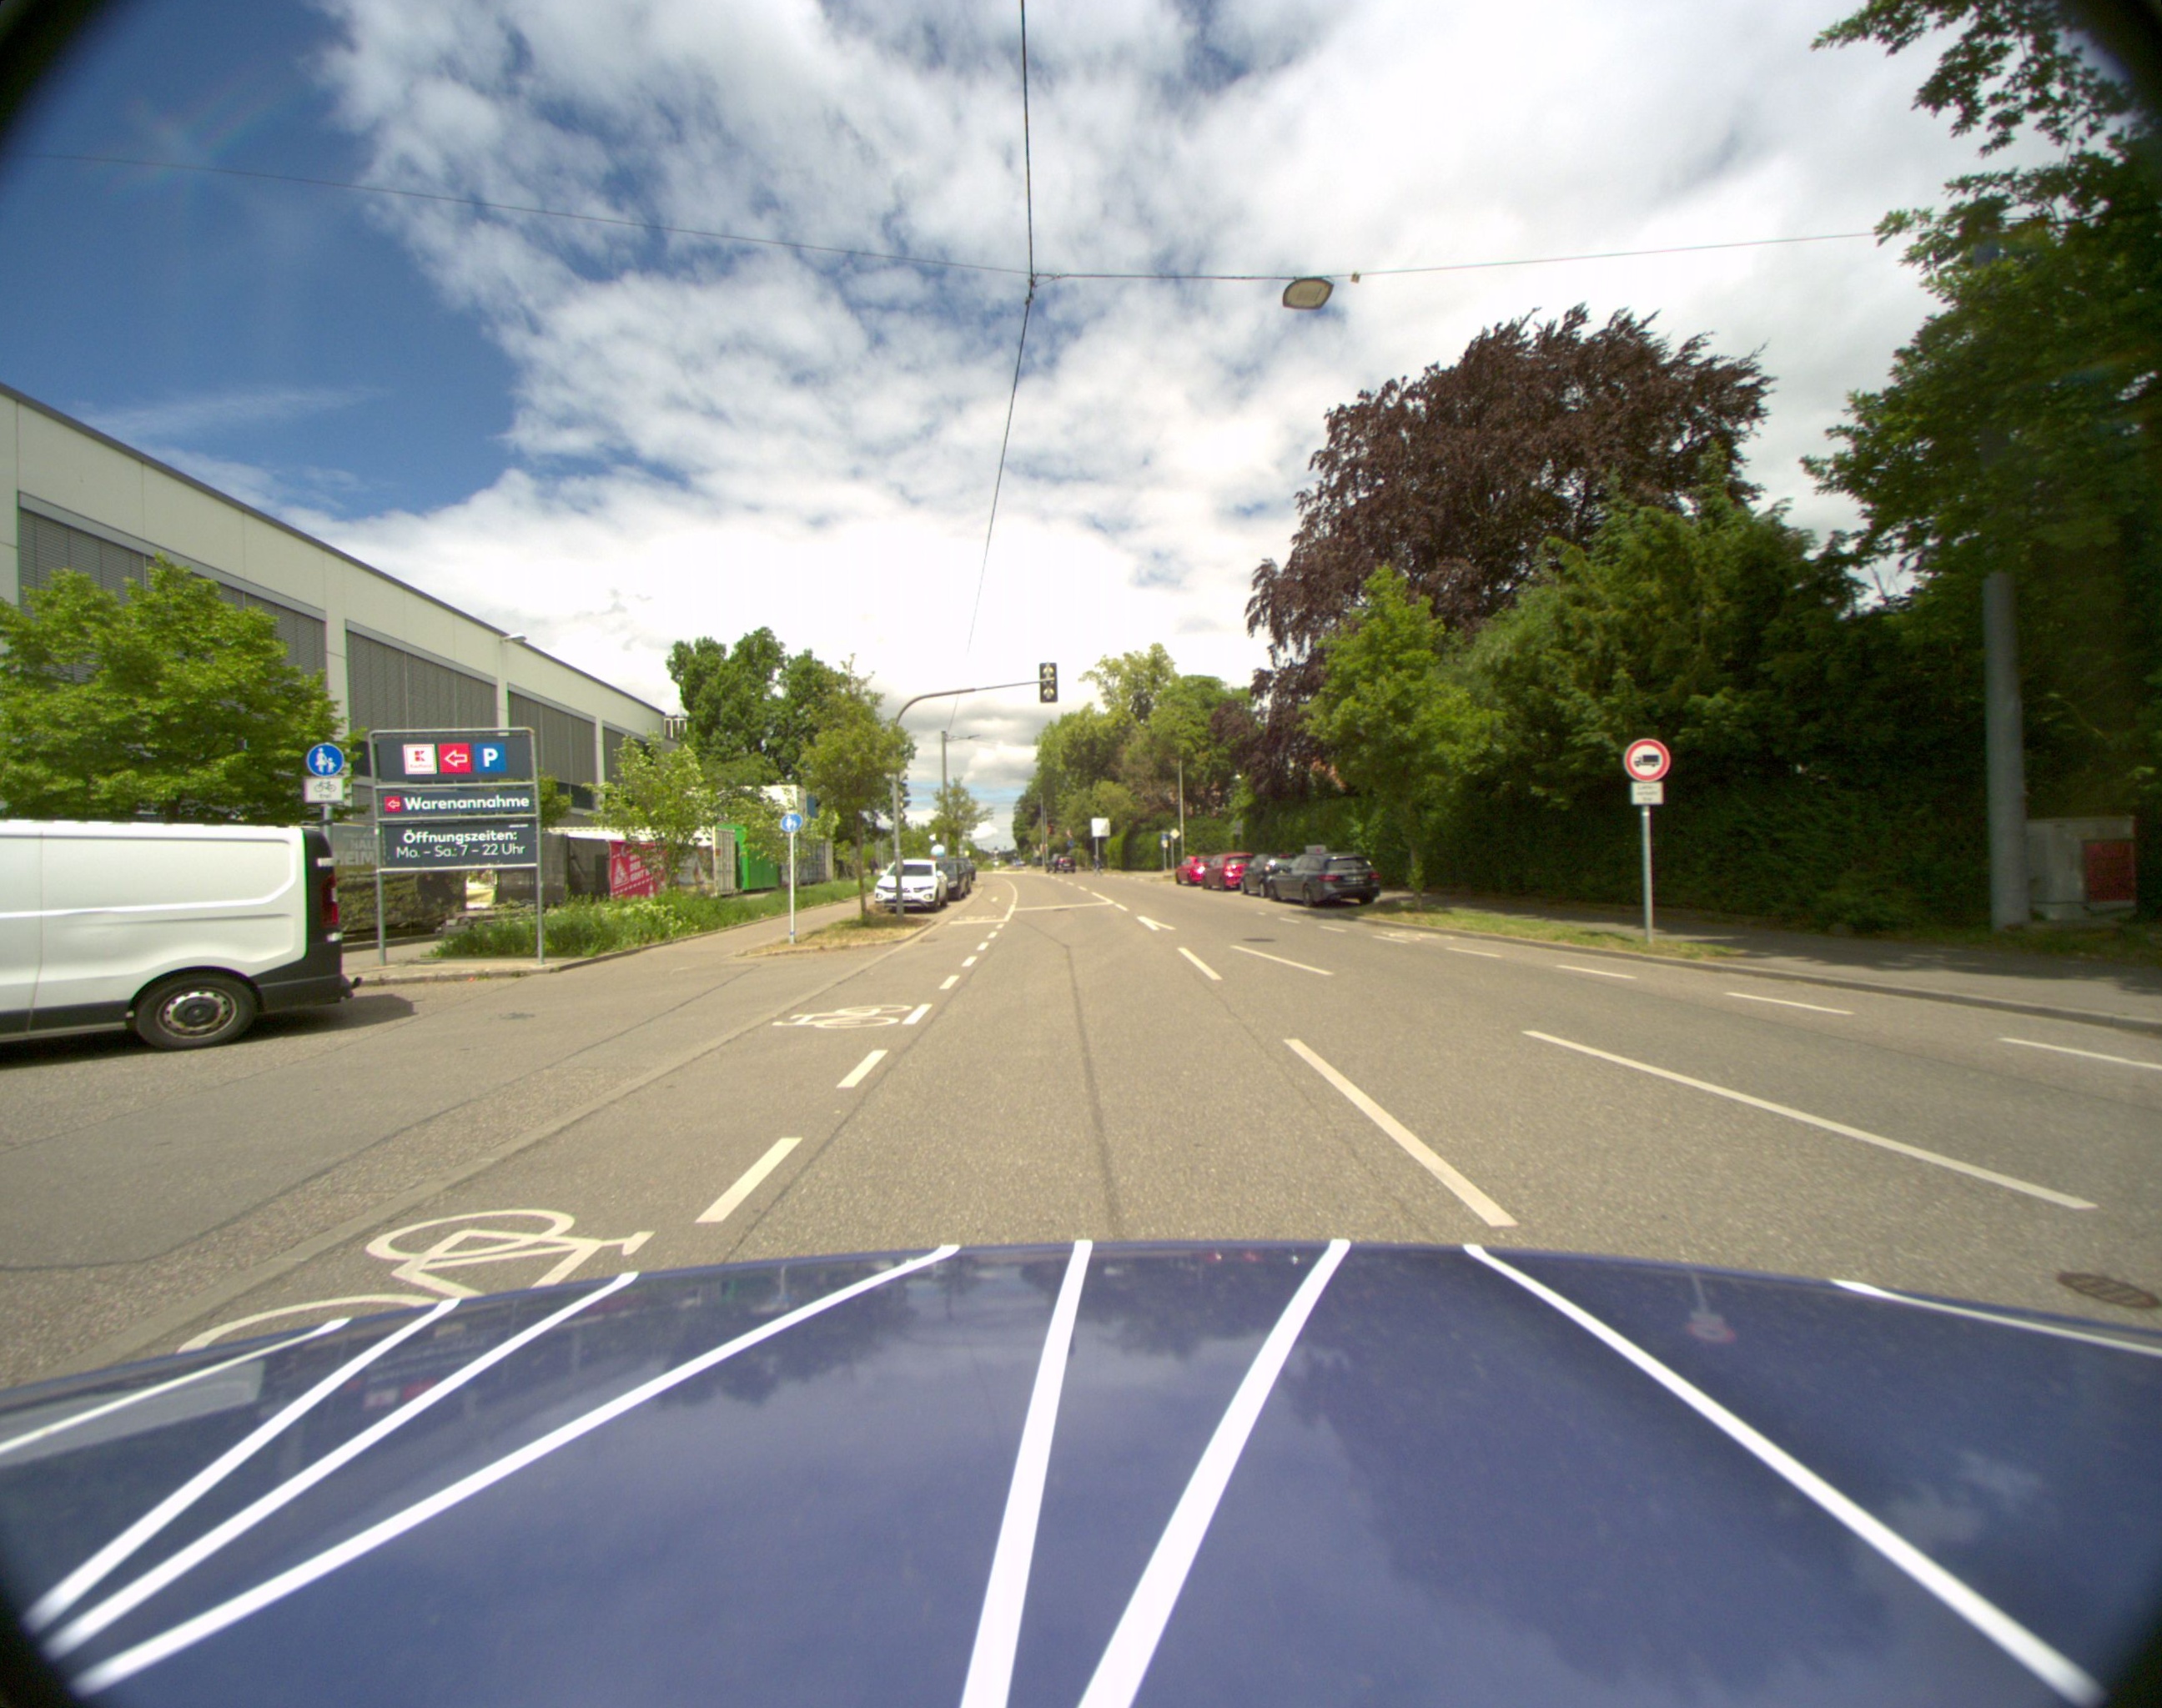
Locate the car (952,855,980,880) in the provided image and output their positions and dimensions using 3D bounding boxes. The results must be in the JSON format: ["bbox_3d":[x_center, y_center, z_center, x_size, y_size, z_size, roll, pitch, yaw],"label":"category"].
[{"bbox_3d":[-7.893,0.892,51.976,1.706,1.522,3.996,-3,1,-10],"label":"car"}]

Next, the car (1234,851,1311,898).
[{"bbox_3d":[6.504,0.641,26.079,1.559,1.404,3.192,-3,1,-4],"label":"car"}]

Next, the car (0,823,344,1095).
[{"bbox_3d":[-9.307,0.746,5.629,1.994,2.011,5.364,2,0,41],"label":"car"}]

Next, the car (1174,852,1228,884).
[{"bbox_3d":[5.601,0.621,35.787,1.530,1.359,3.372,-3,1,-7],"label":"car"}]

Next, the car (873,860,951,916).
[{"bbox_3d":[-5.128,0.982,23.566,1.795,1.522,3.919,0,1,-4],"label":"car"}]

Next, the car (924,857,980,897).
[{"bbox_3d":[-5.686,0.986,33.827,1.999,1.519,3.809,-3,1,-4],"label":"car"}]

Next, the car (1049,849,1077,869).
[{"bbox_3d":[-1.572,0.389,64.886,1.851,1.546,3.946,-3,1,-9],"label":"car"}]

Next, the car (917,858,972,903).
[{"bbox_3d":[-5.178,0.951,29.194,1.602,1.552,3.789,0,1,-3],"label":"car"}]

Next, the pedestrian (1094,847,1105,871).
[{"bbox_3d":[1.288,0.351,53.348,0.554,1.663,0.587,-4,1,-19],"label":"pedestrian"}]

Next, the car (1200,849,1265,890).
[{"bbox_3d":[6.026,0.592,30.599,1.523,1.469,3.322,-3,1,-8],"label":"car"}]

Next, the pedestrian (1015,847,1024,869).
[{"bbox_3d":[-5.855,0.367,72.336,0.699,2.002,0.724,-3,1,5],"label":"pedestrian"}]

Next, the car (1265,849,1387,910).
[{"bbox_3d":[6.759,0.635,21.467,1.687,1.408,4.399,-3,1,-4],"label":"car"}]
